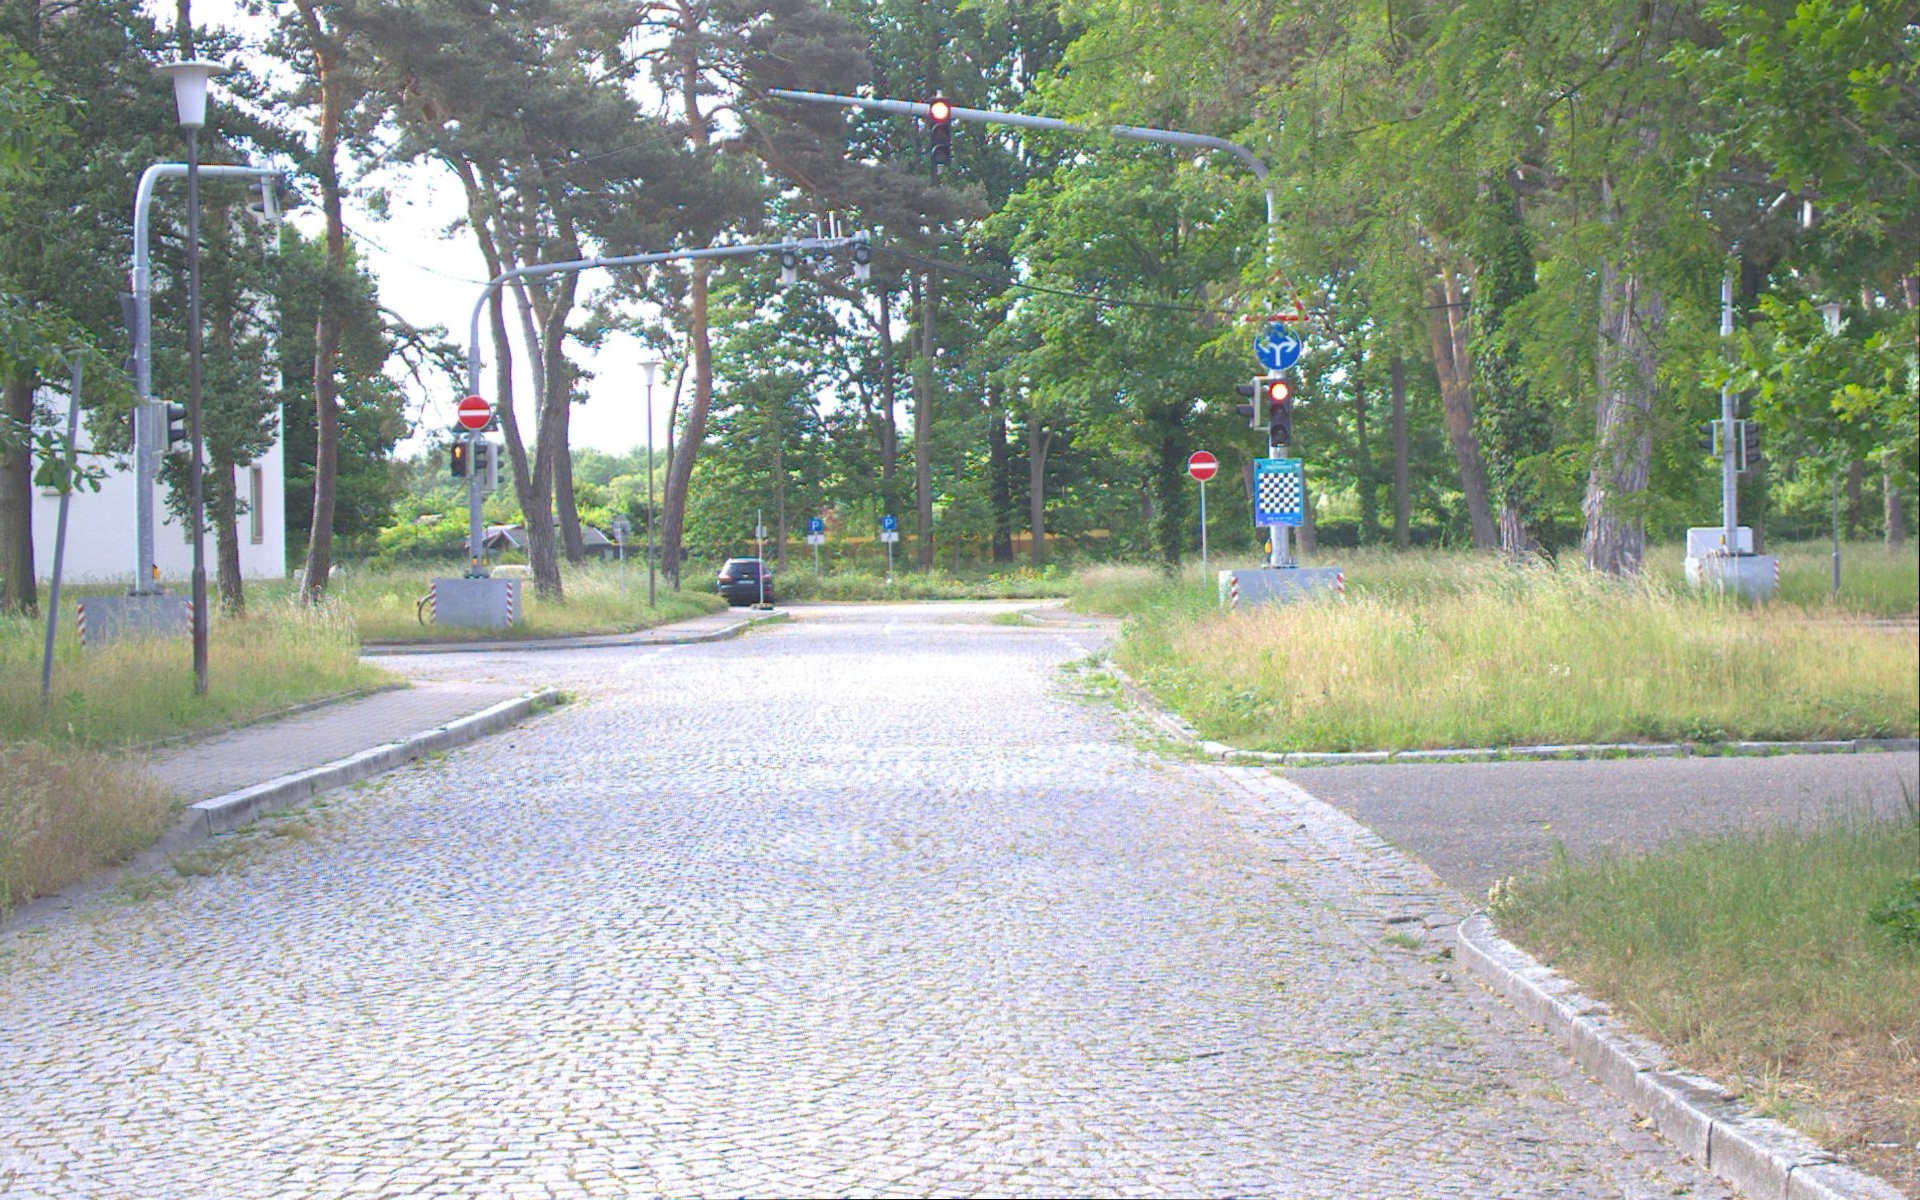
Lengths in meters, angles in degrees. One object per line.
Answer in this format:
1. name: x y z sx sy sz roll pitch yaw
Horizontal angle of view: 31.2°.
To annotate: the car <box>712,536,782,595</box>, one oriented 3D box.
1. car: -6.873 -1.126 111.289 2.056 1.840 4.000 -1 1 -1
